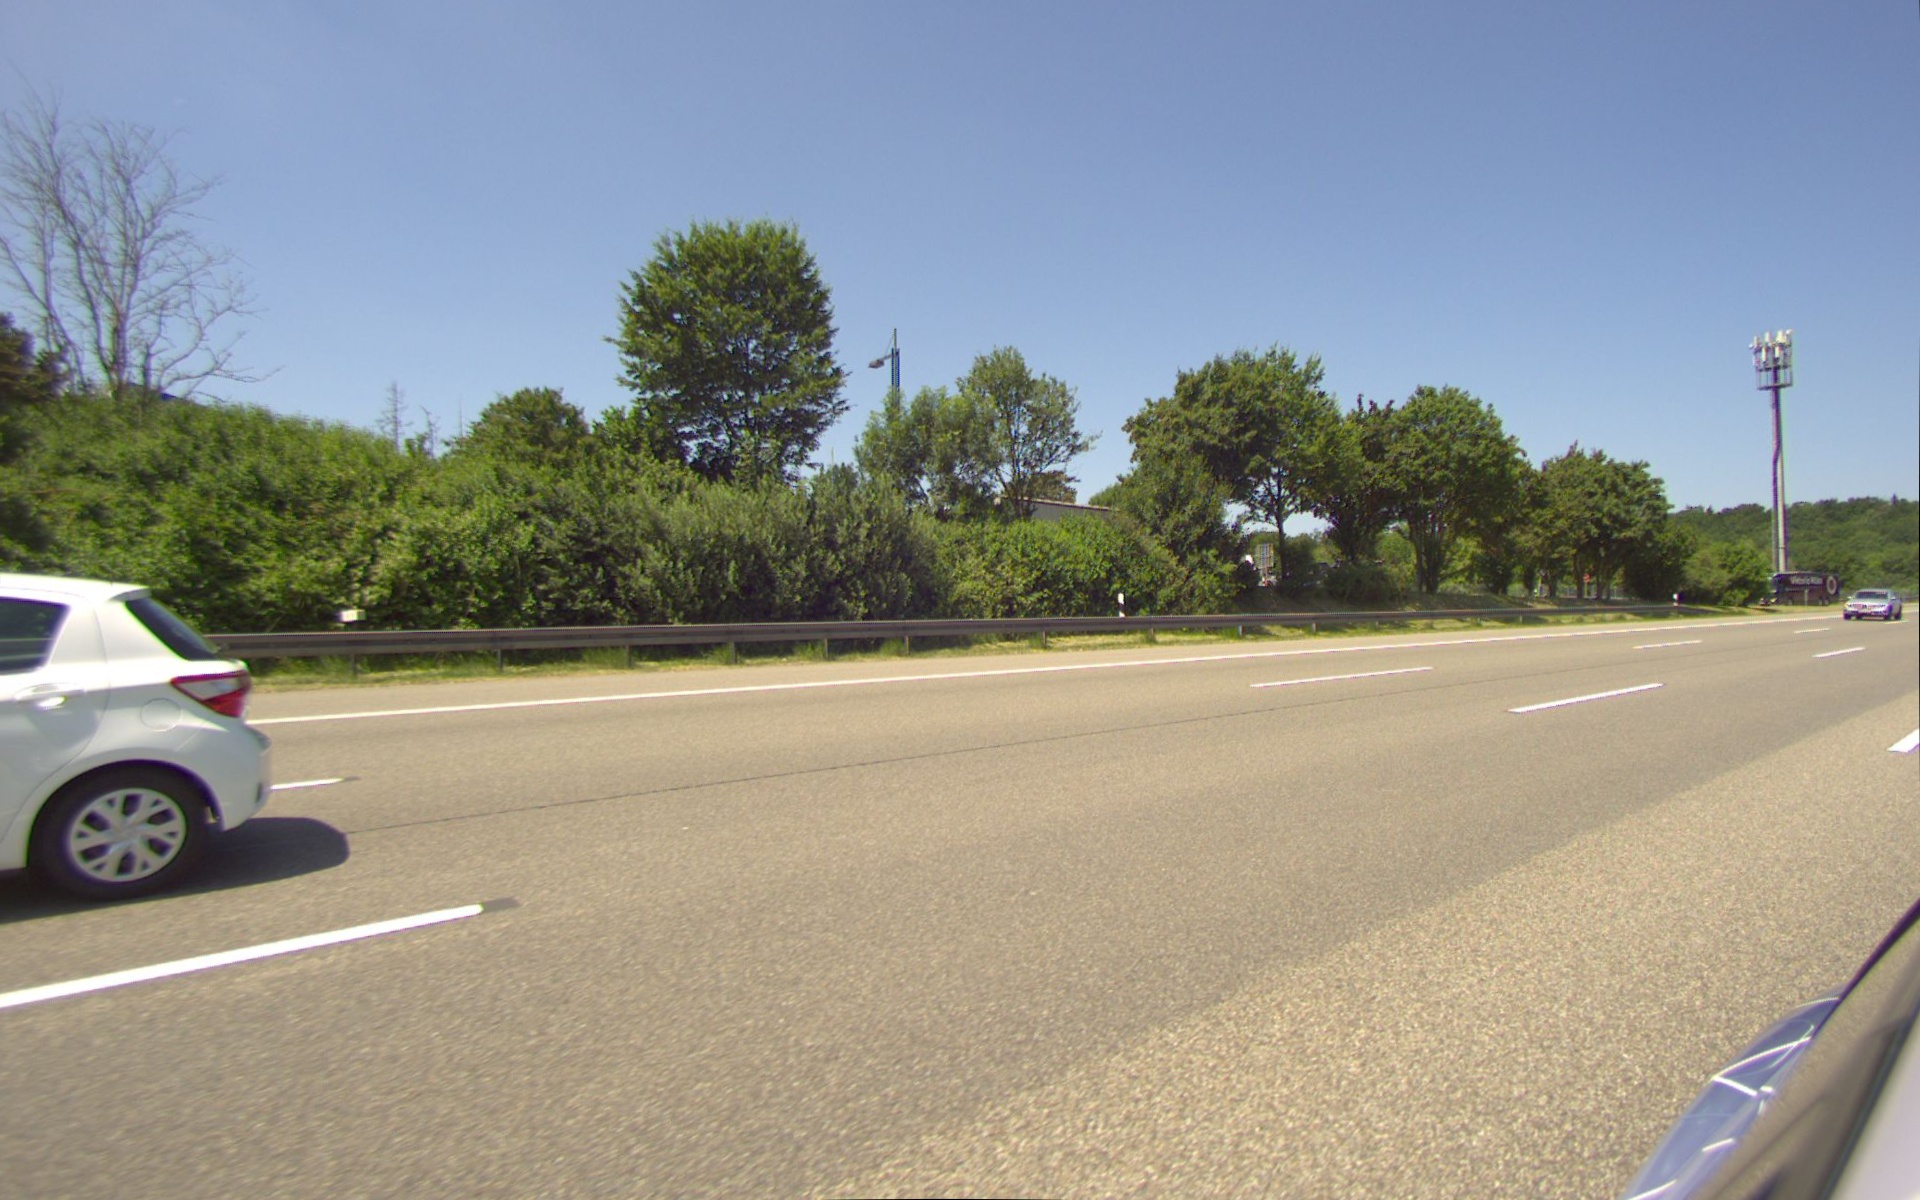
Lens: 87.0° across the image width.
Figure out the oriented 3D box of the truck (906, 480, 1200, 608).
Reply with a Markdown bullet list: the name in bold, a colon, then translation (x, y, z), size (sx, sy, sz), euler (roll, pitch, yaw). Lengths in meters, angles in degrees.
- **truck**: translation (5.018, -2.358, 49.066), size (16.084, 5.388, 3.529), euler (0, 0, -38)

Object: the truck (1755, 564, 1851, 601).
- **truck**: translation (86.493, -1.843, 103.730), size (12.071, 3.616, 2.758), euler (-1, 0, -25)

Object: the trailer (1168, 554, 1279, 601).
- **trailer**: translation (23.811, -2.062, 91.806), size (9.432, 4.087, 2.310), euler (1, 0, 8)

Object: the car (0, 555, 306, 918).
- **car**: translation (-5.459, 0.581, 4.221), size (4.406, 1.538, 1.753), euler (-1, 1, -41)

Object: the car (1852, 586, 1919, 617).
- **car**: translation (48.829, 0.049, 53.385), size (3.927, 1.549, 1.999), euler (-1, 1, -38)

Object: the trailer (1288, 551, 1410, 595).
- **trailer**: translation (34.869, -2.400, 90.868), size (9.934, 3.764, 2.241), euler (-1, 0, 4)
